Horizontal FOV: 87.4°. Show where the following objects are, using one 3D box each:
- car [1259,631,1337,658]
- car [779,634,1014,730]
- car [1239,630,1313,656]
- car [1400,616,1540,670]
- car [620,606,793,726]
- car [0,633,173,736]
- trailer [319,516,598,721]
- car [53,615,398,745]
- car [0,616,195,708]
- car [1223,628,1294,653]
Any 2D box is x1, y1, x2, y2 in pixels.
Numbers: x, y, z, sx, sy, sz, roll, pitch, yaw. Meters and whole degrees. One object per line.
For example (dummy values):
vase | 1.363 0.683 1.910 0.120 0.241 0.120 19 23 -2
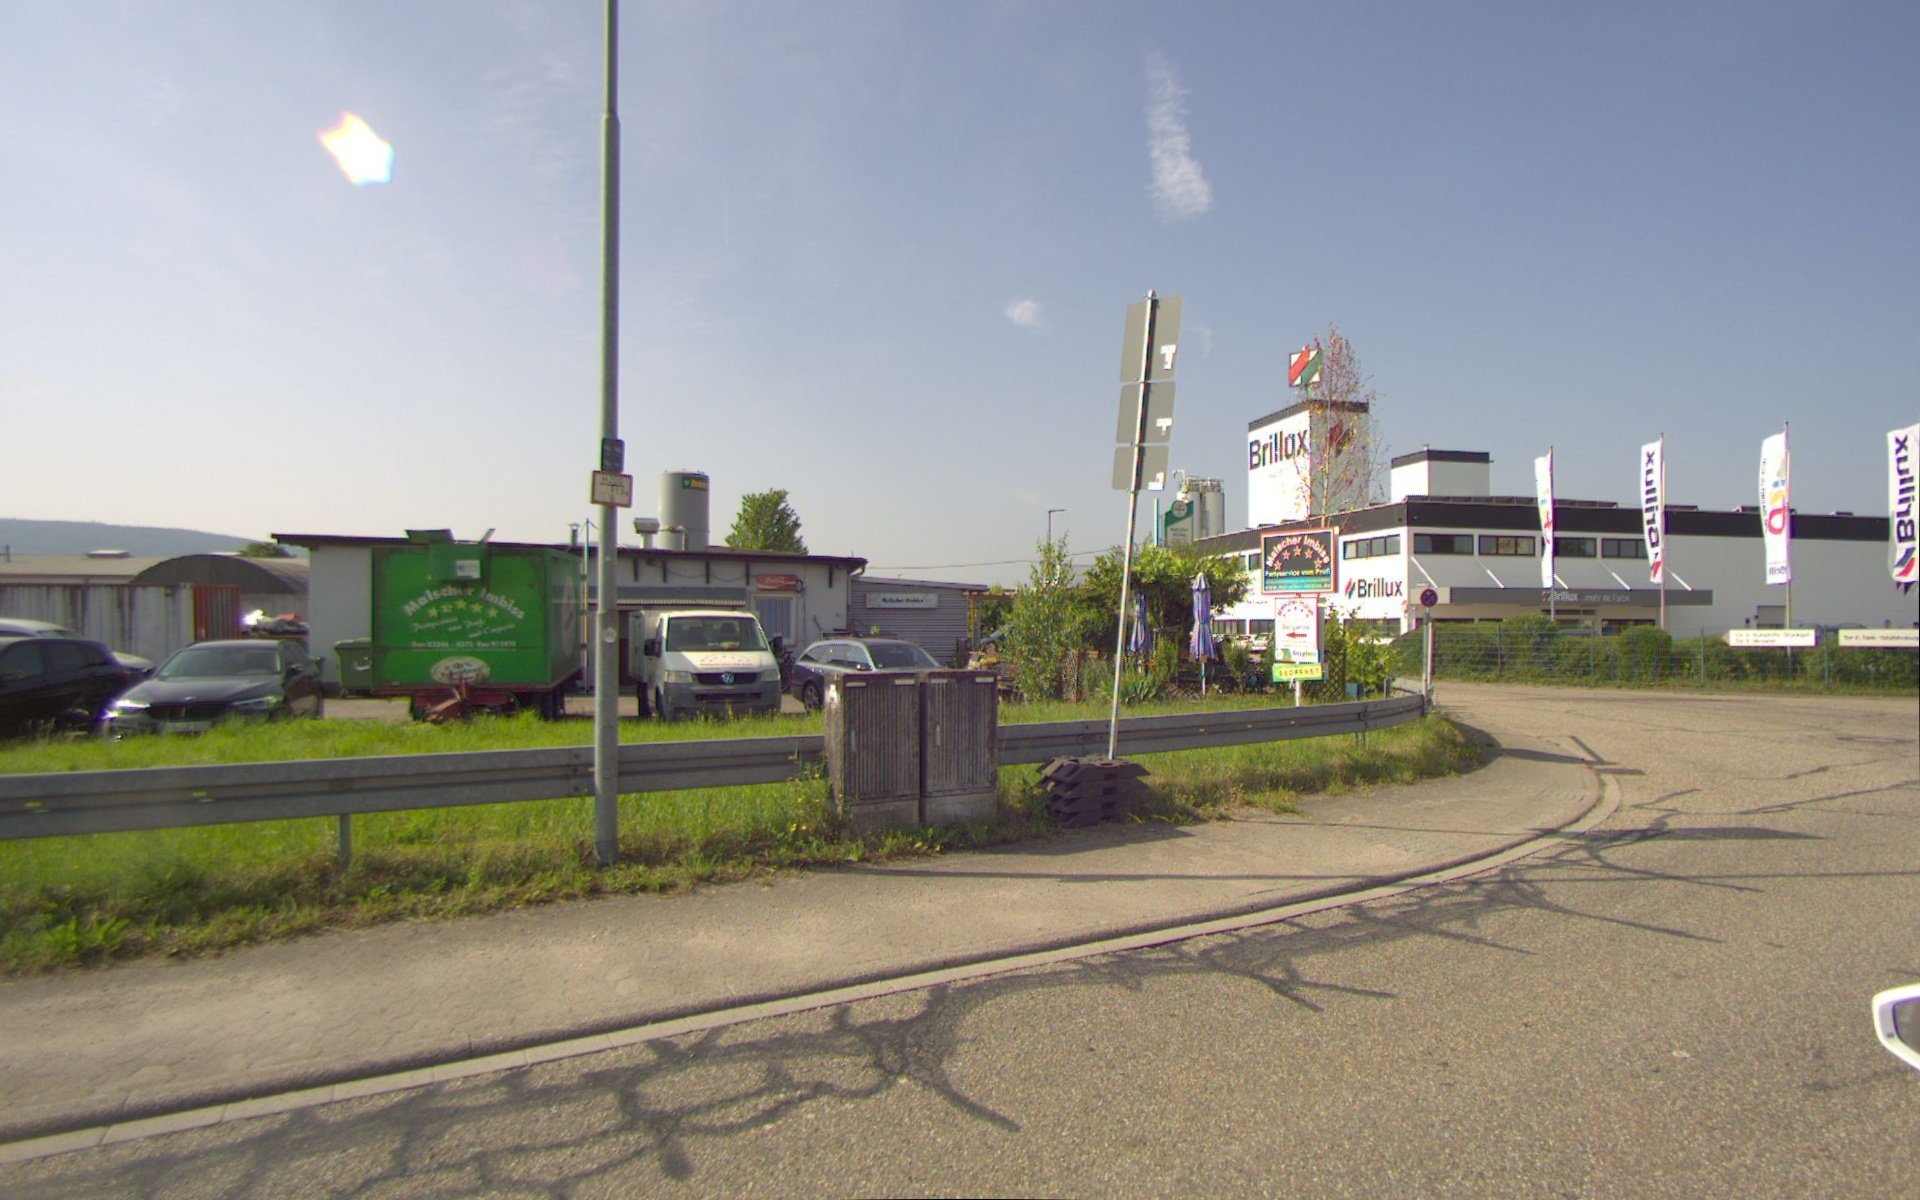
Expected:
car | 21.989 2.898 65.277 5.002 1.724 1.984 1 -3 -30
car | -1.316 1.405 18.502 1.946 1.530 4.785 2 -3 -39
car | 21.599 2.912 68.620 5.002 1.724 1.984 1 -3 -30
car | 17.759 1.478 35.296 2.112 1.775 4.660 0 -2 -8
car | -4.530 1.081 17.277 1.973 1.728 5.248 1 -3 -25
car | -13.526 1.166 14.108 1.747 1.335 4.959 -1 -2 -10
trailer | -7.679 0.390 16.354 2.806 2.638 6.310 0 -3 -15
car | -10.581 1.104 15.109 2.139 1.554 5.136 -1 -2 -10
car | -18.940 1.252 20.785 4.450 1.699 1.995 2 0 -13
car | 21.158 2.886 71.095 5.002 1.724 1.984 1 -3 -30
